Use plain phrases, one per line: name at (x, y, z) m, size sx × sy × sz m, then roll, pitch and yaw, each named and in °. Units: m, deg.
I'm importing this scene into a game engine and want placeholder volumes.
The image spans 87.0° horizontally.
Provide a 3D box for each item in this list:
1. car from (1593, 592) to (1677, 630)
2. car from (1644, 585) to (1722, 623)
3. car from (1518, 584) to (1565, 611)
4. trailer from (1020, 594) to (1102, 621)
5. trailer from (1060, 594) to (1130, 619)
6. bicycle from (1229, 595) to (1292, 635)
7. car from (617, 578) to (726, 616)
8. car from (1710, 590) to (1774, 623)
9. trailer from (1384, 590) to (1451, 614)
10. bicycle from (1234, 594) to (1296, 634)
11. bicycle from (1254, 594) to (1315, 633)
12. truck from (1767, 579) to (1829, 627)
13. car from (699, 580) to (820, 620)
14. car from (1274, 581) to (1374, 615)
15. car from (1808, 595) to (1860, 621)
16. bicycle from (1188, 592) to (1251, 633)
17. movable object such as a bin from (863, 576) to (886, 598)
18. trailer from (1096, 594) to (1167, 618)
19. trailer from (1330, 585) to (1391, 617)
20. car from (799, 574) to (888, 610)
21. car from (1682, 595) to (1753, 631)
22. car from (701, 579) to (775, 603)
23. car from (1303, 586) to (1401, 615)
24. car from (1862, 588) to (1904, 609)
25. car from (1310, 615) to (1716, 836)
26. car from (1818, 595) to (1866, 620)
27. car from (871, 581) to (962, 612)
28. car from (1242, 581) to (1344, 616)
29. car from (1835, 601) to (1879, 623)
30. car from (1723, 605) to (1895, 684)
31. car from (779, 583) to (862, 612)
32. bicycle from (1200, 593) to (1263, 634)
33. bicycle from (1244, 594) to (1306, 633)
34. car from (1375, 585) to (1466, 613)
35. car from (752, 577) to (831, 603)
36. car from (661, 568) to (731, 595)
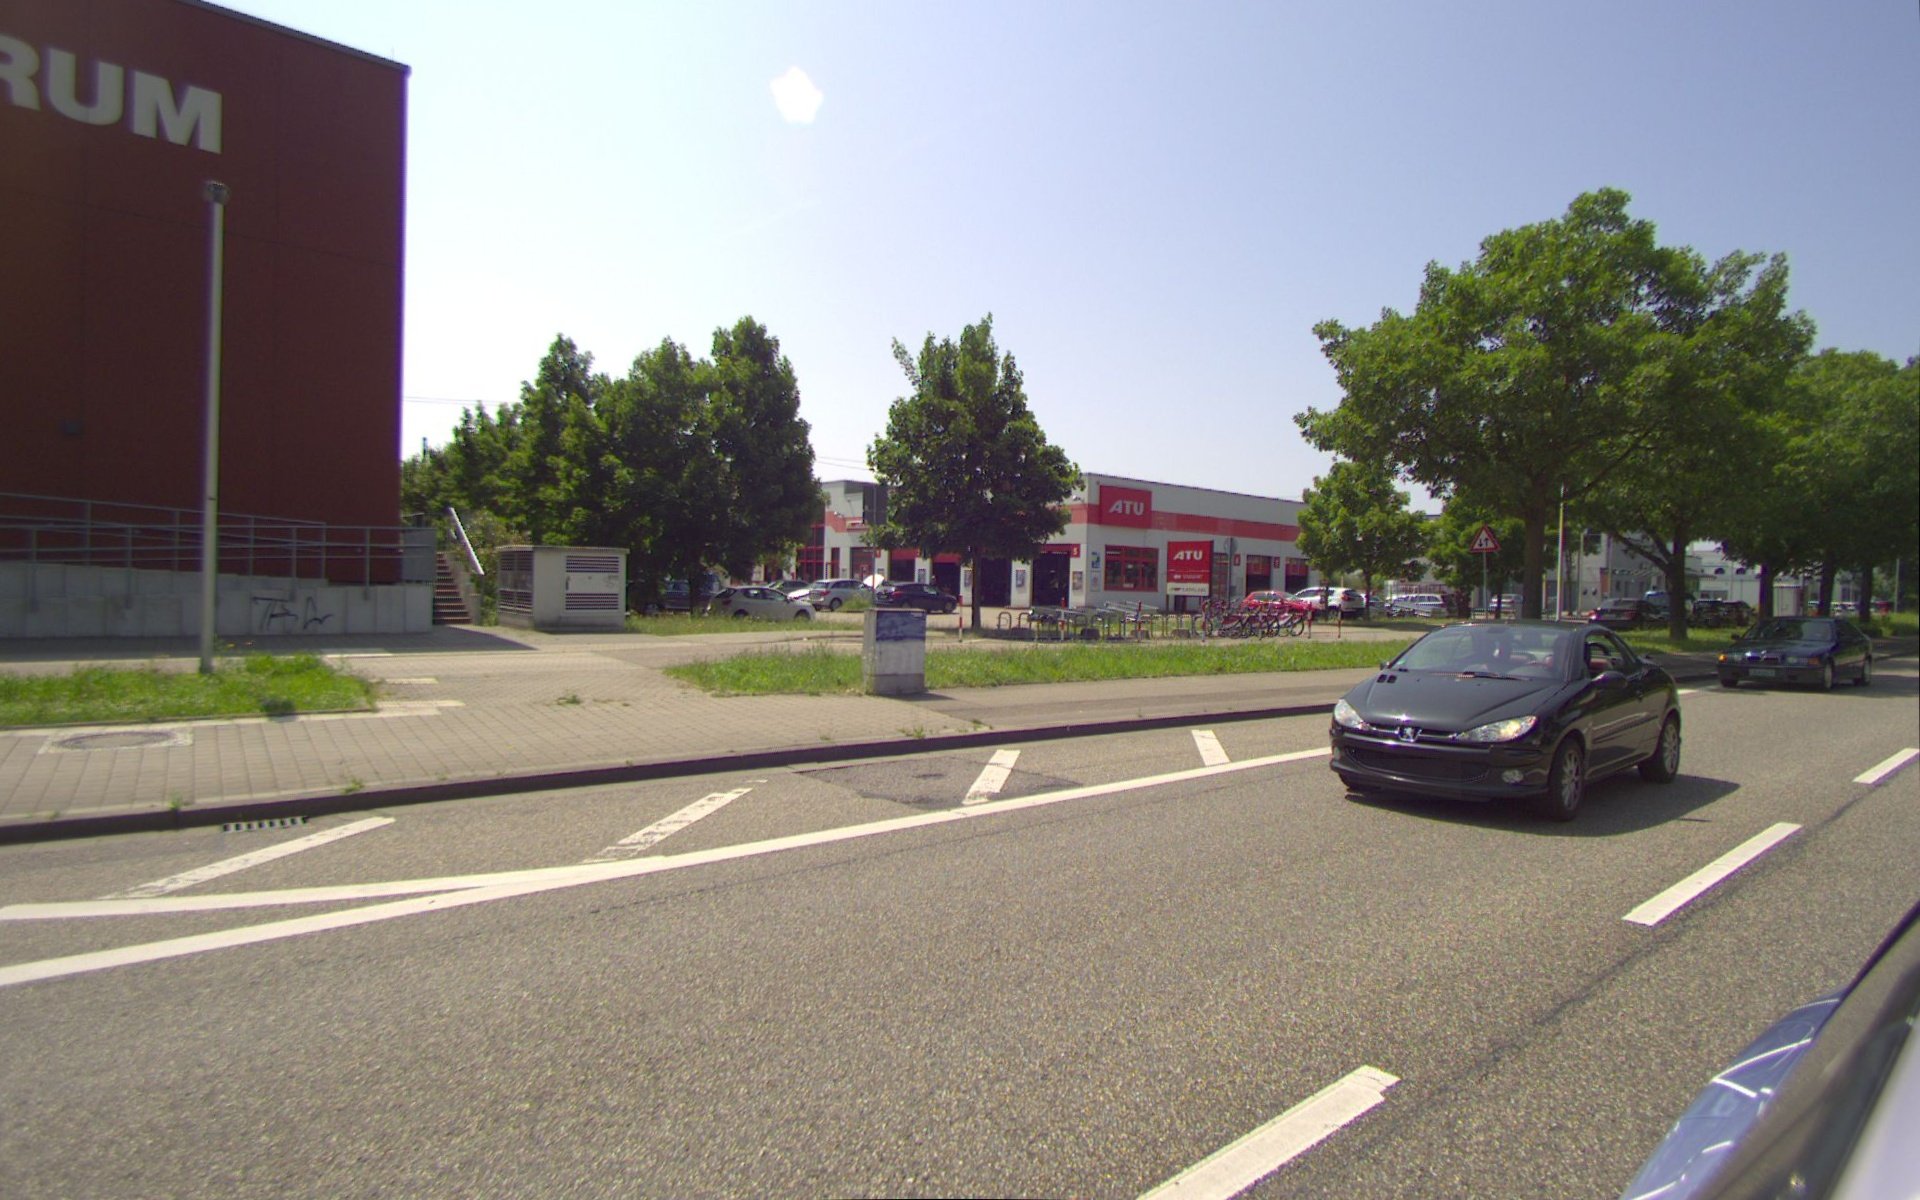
car at (26.321, 0.420, 39.429) m, size 3.928 × 1.388 × 1.642 m, roll 1°, pitch 1°, yaw -40°
car at (30.851, 0.162, 43.138) m, size 3.928 × 1.485 × 1.719 m, roll 1°, pitch 1°, yaw -40°
car at (37.462, -0.154, 65.176) m, size 1.754 × 1.616 × 3.938 m, roll 2°, pitch 1°, yaw 43°
trailer at (3.356, 0.237, 33.769) m, size 1.423 × 0.771 × 2.467 m, roll 1°, pitch 1°, yaw -38°
trailer at (4.637, 0.221, 34.888) m, size 1.244 × 0.771 × 2.138 m, roll 1°, pitch 1°, yaw -38°
bicycle at (9.085, 0.450, 30.687) m, size 1.780 × 1.138 × 0.506 m, roll 2°, pitch 1°, yaw 44°
car at (-11.781, -0.105, 41.439) m, size 3.928 × 1.444 × 1.711 m, roll 1°, pitch 1°, yaw -39°
car at (39.017, 0.304, 50.469) m, size 3.928 × 1.532 × 1.719 m, roll 1°, pitch 1°, yaw -40°
trailer at (22.877, 0.092, 50.639) m, size 1.551 × 1.065 × 2.639 m, roll 1°, pitch 1°, yaw -42°
bicycle at (9.399, 0.424, 31.258) m, size 1.780 × 1.138 × 0.506 m, roll 2°, pitch 1°, yaw 44°
bicycle at (10.294, 0.410, 32.172) m, size 1.780 × 1.138 × 0.506 m, roll 2°, pitch 1°, yaw 44°
truck at (48.016, 0.174, 57.965) m, size 3.927 × 2.599 × 1.905 m, roll 1°, pitch 1°, yaw -38°
car at (-7.070, 0.001, 35.857) m, size 3.903 × 1.329 × 1.652 m, roll 0°, pitch 2°, yaw -41°
car at (16.722, -0.093, 46.647) m, size 1.717 × 1.419 × 3.993 m, roll 1°, pitch 1°, yaw -42°
car at (52.943, 0.488, 61.279) m, size 3.928 × 1.485 × 1.719 m, roll 1°, pitch 1°, yaw -40°
bicycle at (7.730, 0.364, 30.157) m, size 1.780 × 1.138 × 0.506 m, roll 2°, pitch 1°, yaw 44°
movable object such as a bin at (-5.300, -0.809, 62.636) m, size 1.047 × 1.274 × 1.003 m, roll 1°, pitch 1°, yaw -36°
trailer at (6.076, 0.200, 35.965) m, size 1.368 × 0.771 × 2.138 m, roll 1°, pitch 1°, yaw -38°
trailer at (20.888, 0.036, 52.818) m, size 1.391 × 1.546 × 2.639 m, roll 1°, pitch 1°, yaw -42°
car at (-5.725, -0.392, 49.855) m, size 4.072 × 1.683 × 1.716 m, roll 0°, pitch 1°, yaw -41°
car at (34.864, 0.565, 46.532) m, size 3.928 × 1.539 × 1.719 m, roll 1°, pitch 1°, yaw -40°
car at (-13.445, -0.555, 61.453) m, size 4.072 × 1.376 × 1.647 m, roll 0°, pitch 2°, yaw -41°
car at (18.567, -0.005, 48.065) m, size 1.717 × 1.223 × 3.993 m, roll 1°, pitch 1°, yaw -42°
car at (67.914, -0.085, 74.457) m, size 3.928 × 1.485 × 1.719 m, roll 1°, pitch 1°, yaw -40°
car at (4.638, 0.813, 8.252) m, size 3.929 × 1.361 × 1.640 m, roll 1°, pitch -1°, yaw -41°
car at (57.304, 0.475, 65.705) m, size 3.928 × 1.485 × 1.719 m, roll 1°, pitch 1°, yaw -40°
car at (-2.033, -0.159, 47.526) m, size 4.072 × 1.390 × 1.716 m, roll 0°, pitch 2°, yaw -41°
car at (14.860, -0.093, 45.265) m, size 1.717 × 1.419 × 3.993 m, roll 1°, pitch 1°, yaw -42°
car at (62.923, 0.832, 70.980) m, size 3.928 × 1.485 × 1.719 m, roll 1°, pitch 1°, yaw -40°
car at (16.479, 0.794, 19.591) m, size 4.067 × 1.388 × 1.642 m, roll 1°, pitch -1°, yaw -37°
car at (-7.143, -0.136, 52.164) m, size 3.930 × 1.389 × 1.725 m, roll 1°, pitch 1°, yaw -41°
bicycle at (8.185, 0.394, 30.551) m, size 1.780 × 1.138 × 0.506 m, roll 2°, pitch 1°, yaw 44°
bicycle at (9.861, 0.418, 31.704) m, size 1.780 × 1.138 × 0.506 m, roll 2°, pitch 1°, yaw 44°
car at (23.914, -0.063, 52.670) m, size 1.661 × 1.317 × 3.993 m, roll 1°, pitch 1°, yaw -42°
car at (-9.312, -0.531, 56.113) m, size 4.072 × 1.376 × 1.647 m, roll 0°, pitch 2°, yaw -41°
car at (-16.806, -1.151, 64.465) m, size 3.930 × 1.626 × 1.710 m, roll 1°, pitch 1°, yaw -41°
